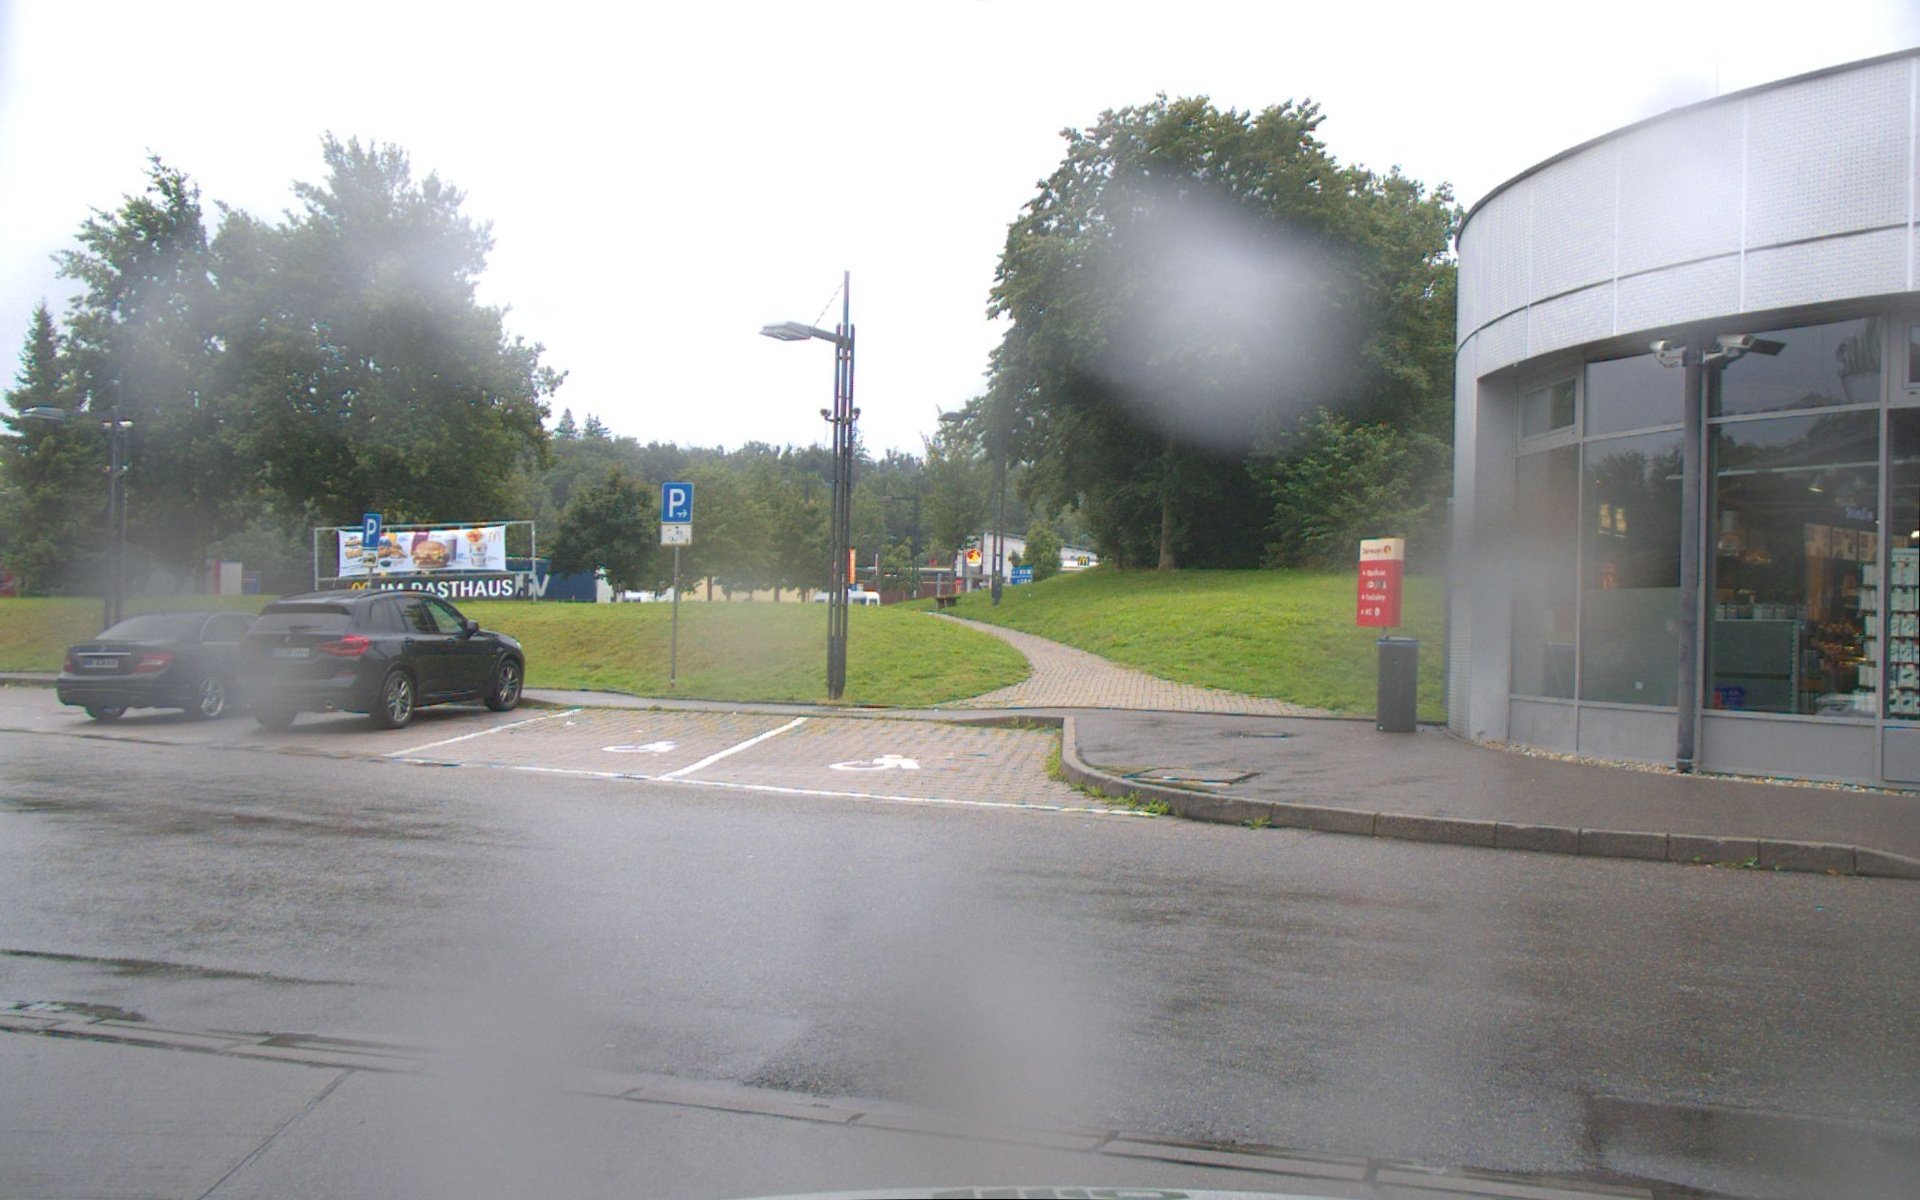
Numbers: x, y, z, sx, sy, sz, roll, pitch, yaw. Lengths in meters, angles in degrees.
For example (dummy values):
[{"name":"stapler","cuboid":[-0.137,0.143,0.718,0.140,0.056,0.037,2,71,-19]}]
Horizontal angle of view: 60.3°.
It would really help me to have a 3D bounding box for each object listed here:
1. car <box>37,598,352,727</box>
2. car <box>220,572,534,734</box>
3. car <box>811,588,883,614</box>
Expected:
[{"name":"car","cuboid":[-10.355,0.779,22.764,1.844,1.592,4.189,0,0,11]},{"name":"car","cuboid":[-7.329,0.607,21.325,1.844,1.860,4.417,0,0,11]},{"name":"car","cuboid":[-9.134,0.067,133.624,5.310,2.049,2.456,1,0,19]}]
